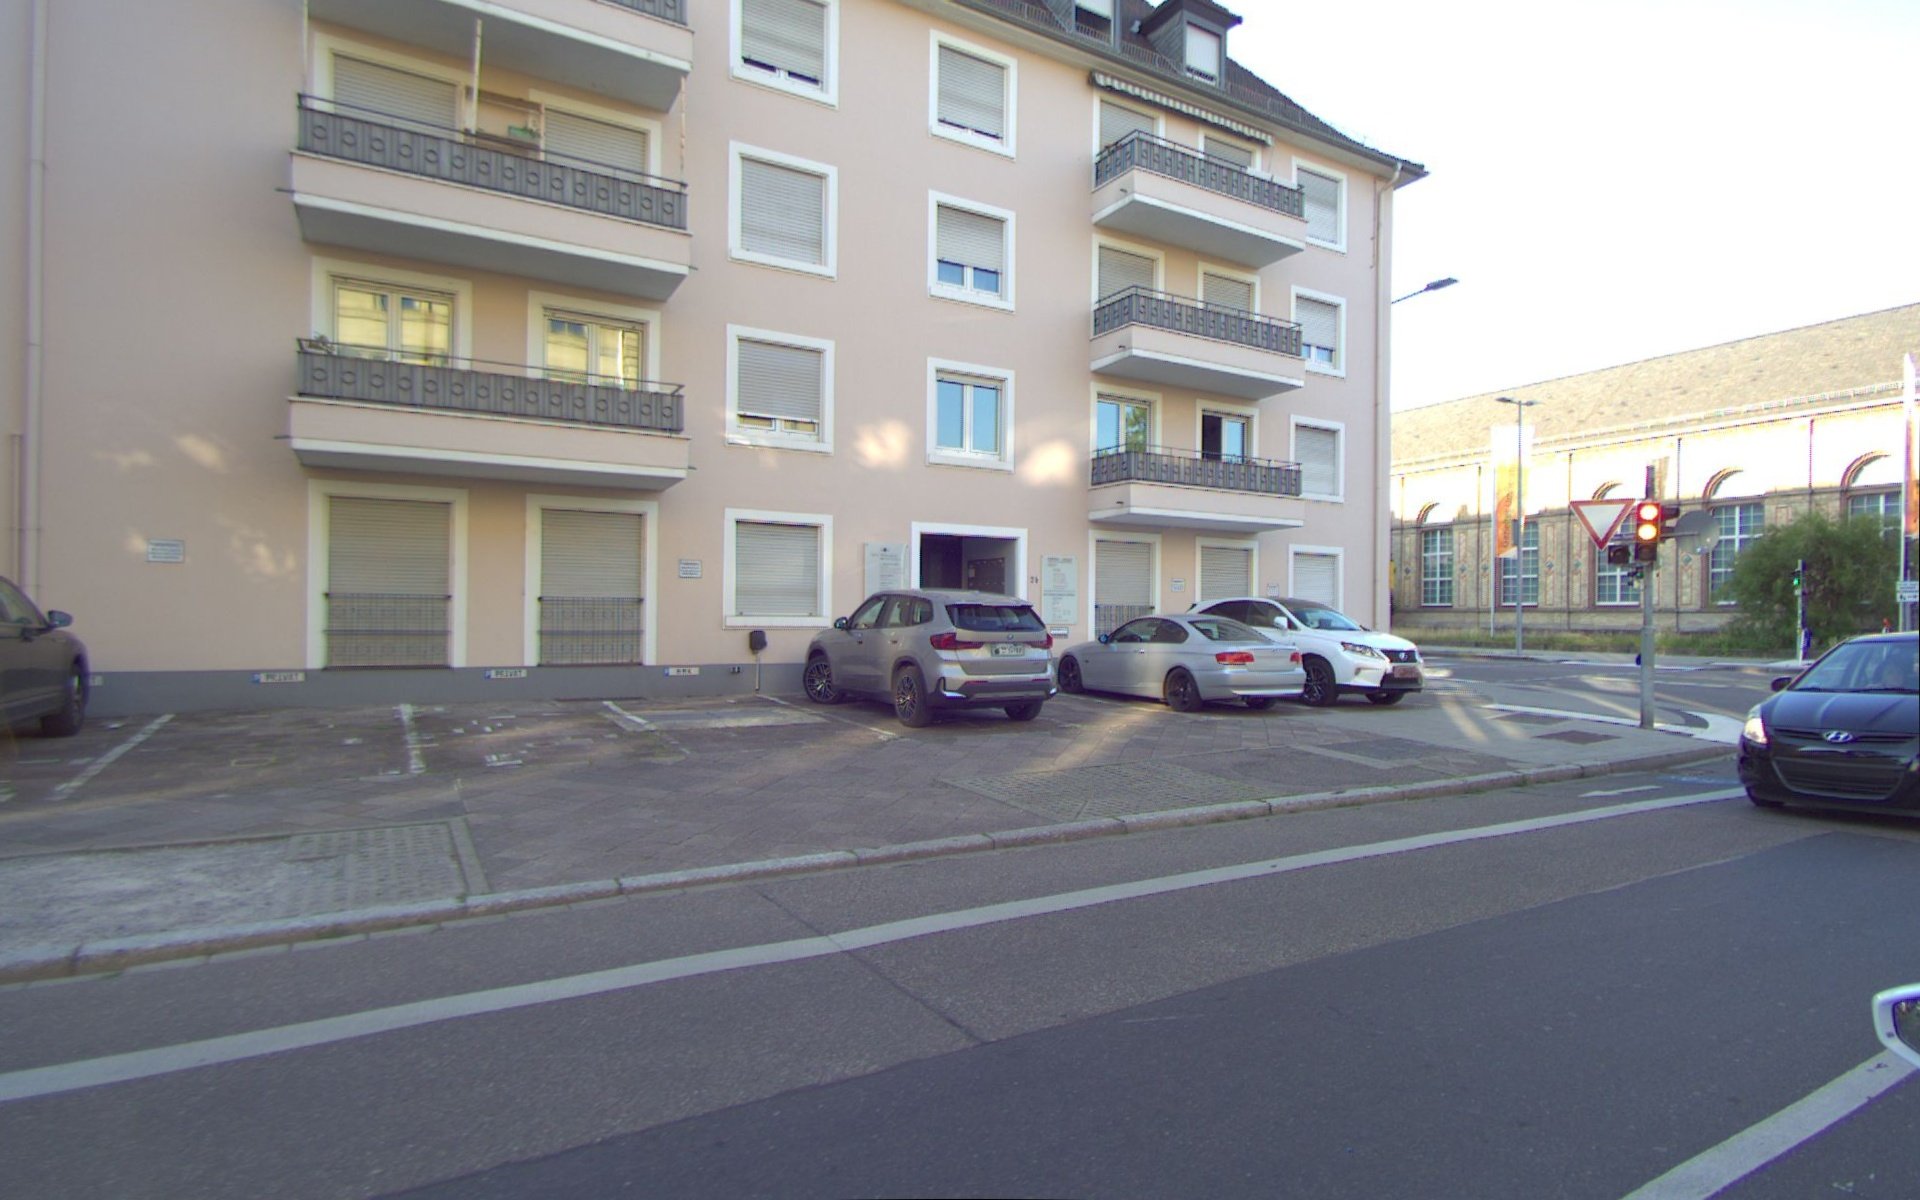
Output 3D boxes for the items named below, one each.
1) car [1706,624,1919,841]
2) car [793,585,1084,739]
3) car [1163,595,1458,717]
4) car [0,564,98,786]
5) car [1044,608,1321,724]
[{"bbox_3d":[8.219,0.965,8.444,3.805,1.491,1.651,0,-1,-28],"label":"car"},{"bbox_3d":[-0.490,0.654,13.235,1.894,1.627,4.395,1,1,-31],"label":"car"},{"bbox_3d":[5.613,0.796,16.694,1.920,1.663,4.417,1,1,-31],"label":"car"},{"bbox_3d":[-8.624,0.533,8.075,1.843,1.687,4.395,1,1,-31],"label":"car"},{"bbox_3d":[3.240,0.895,15.485,1.716,1.399,4.244,1,1,-31],"label":"car"}]
